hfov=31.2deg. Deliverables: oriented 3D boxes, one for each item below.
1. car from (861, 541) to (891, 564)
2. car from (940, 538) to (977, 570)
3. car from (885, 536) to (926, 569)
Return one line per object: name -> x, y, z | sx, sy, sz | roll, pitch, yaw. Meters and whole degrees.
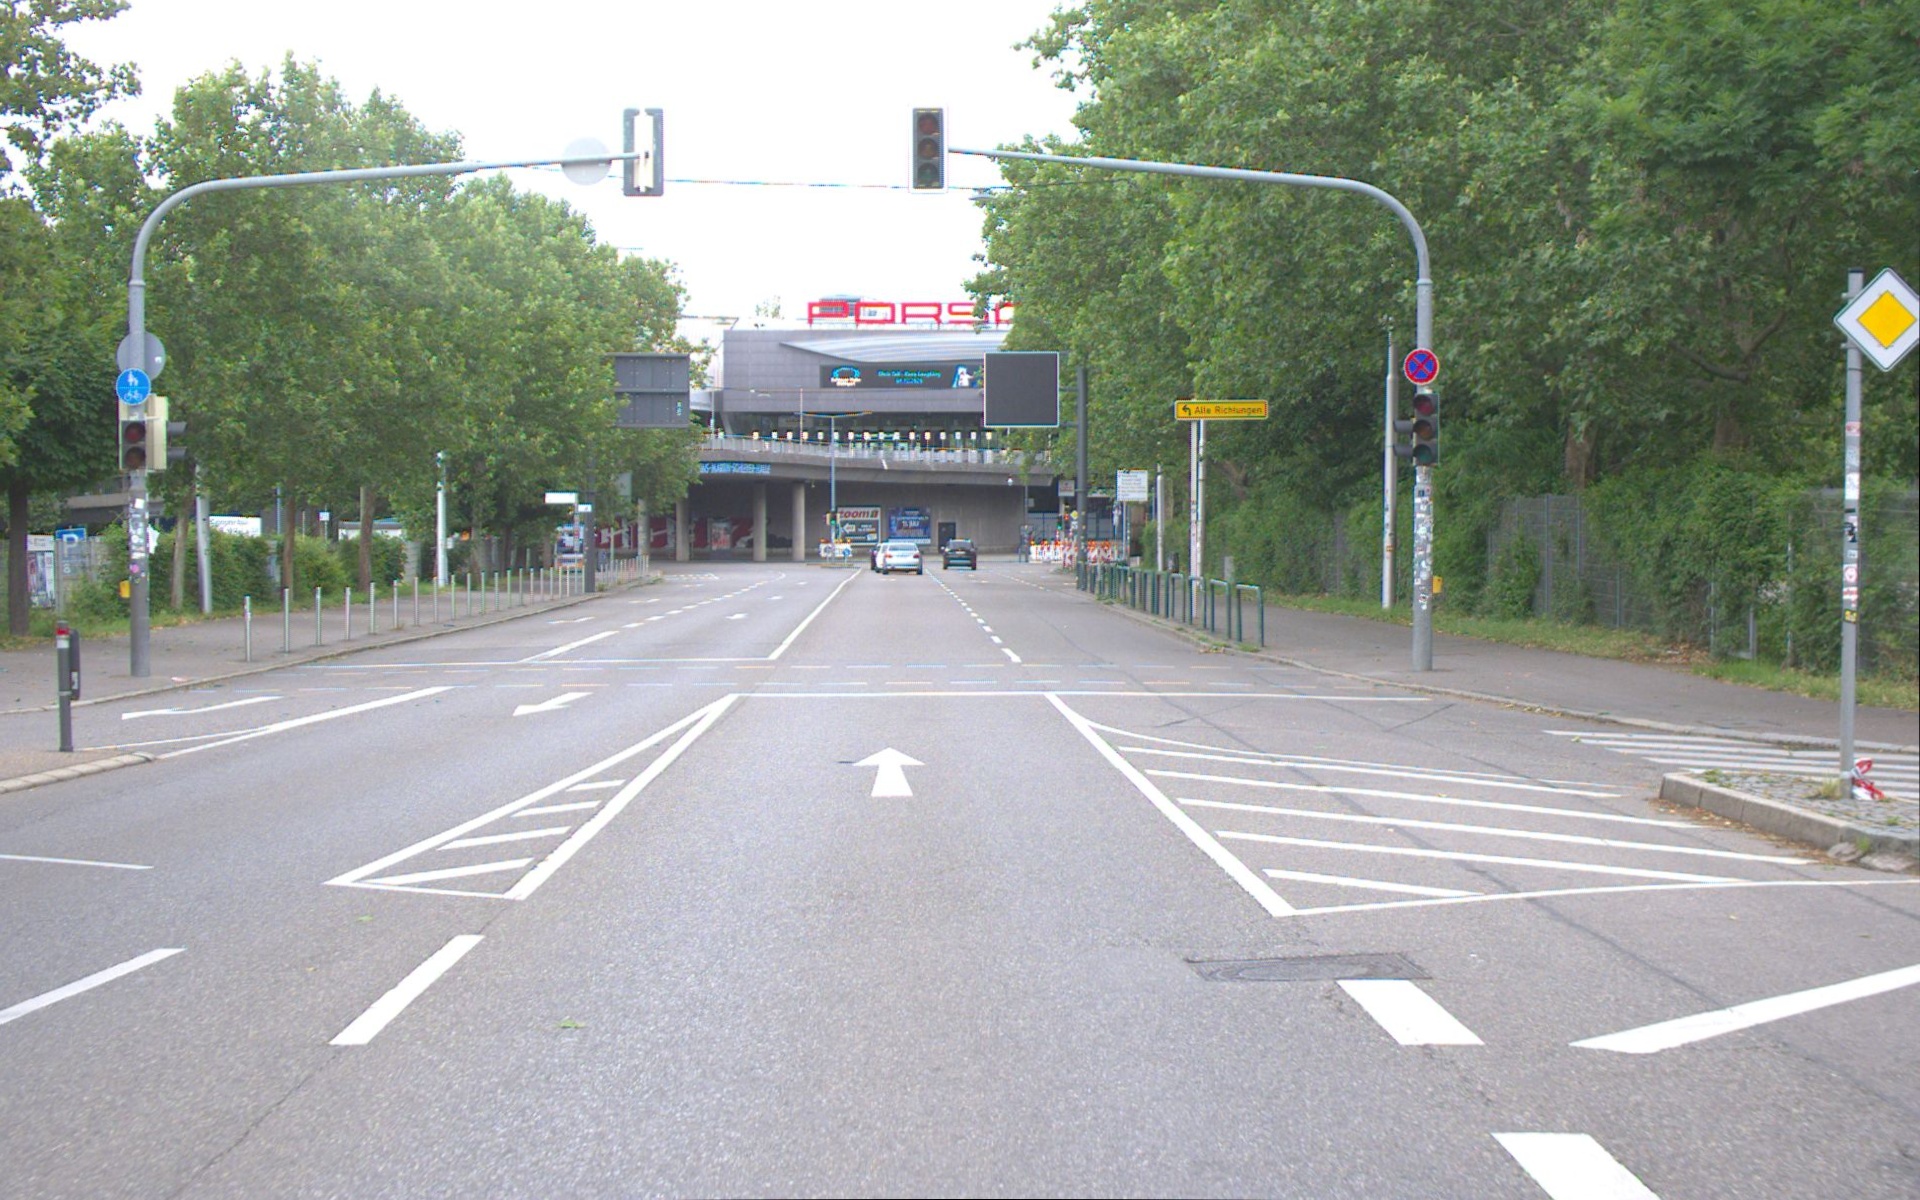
car -> -4.101, -2.320, 167.542 | 1.411, 1.109, 3.038 | 1, 1, -1
car -> -0.073, -2.531, 188.881 | 2.007, 1.693, 4.069 | 1, 1, 0
car -> -2.486, -2.185, 158.654 | 1.778, 1.455, 3.822 | 2, 1, 0
